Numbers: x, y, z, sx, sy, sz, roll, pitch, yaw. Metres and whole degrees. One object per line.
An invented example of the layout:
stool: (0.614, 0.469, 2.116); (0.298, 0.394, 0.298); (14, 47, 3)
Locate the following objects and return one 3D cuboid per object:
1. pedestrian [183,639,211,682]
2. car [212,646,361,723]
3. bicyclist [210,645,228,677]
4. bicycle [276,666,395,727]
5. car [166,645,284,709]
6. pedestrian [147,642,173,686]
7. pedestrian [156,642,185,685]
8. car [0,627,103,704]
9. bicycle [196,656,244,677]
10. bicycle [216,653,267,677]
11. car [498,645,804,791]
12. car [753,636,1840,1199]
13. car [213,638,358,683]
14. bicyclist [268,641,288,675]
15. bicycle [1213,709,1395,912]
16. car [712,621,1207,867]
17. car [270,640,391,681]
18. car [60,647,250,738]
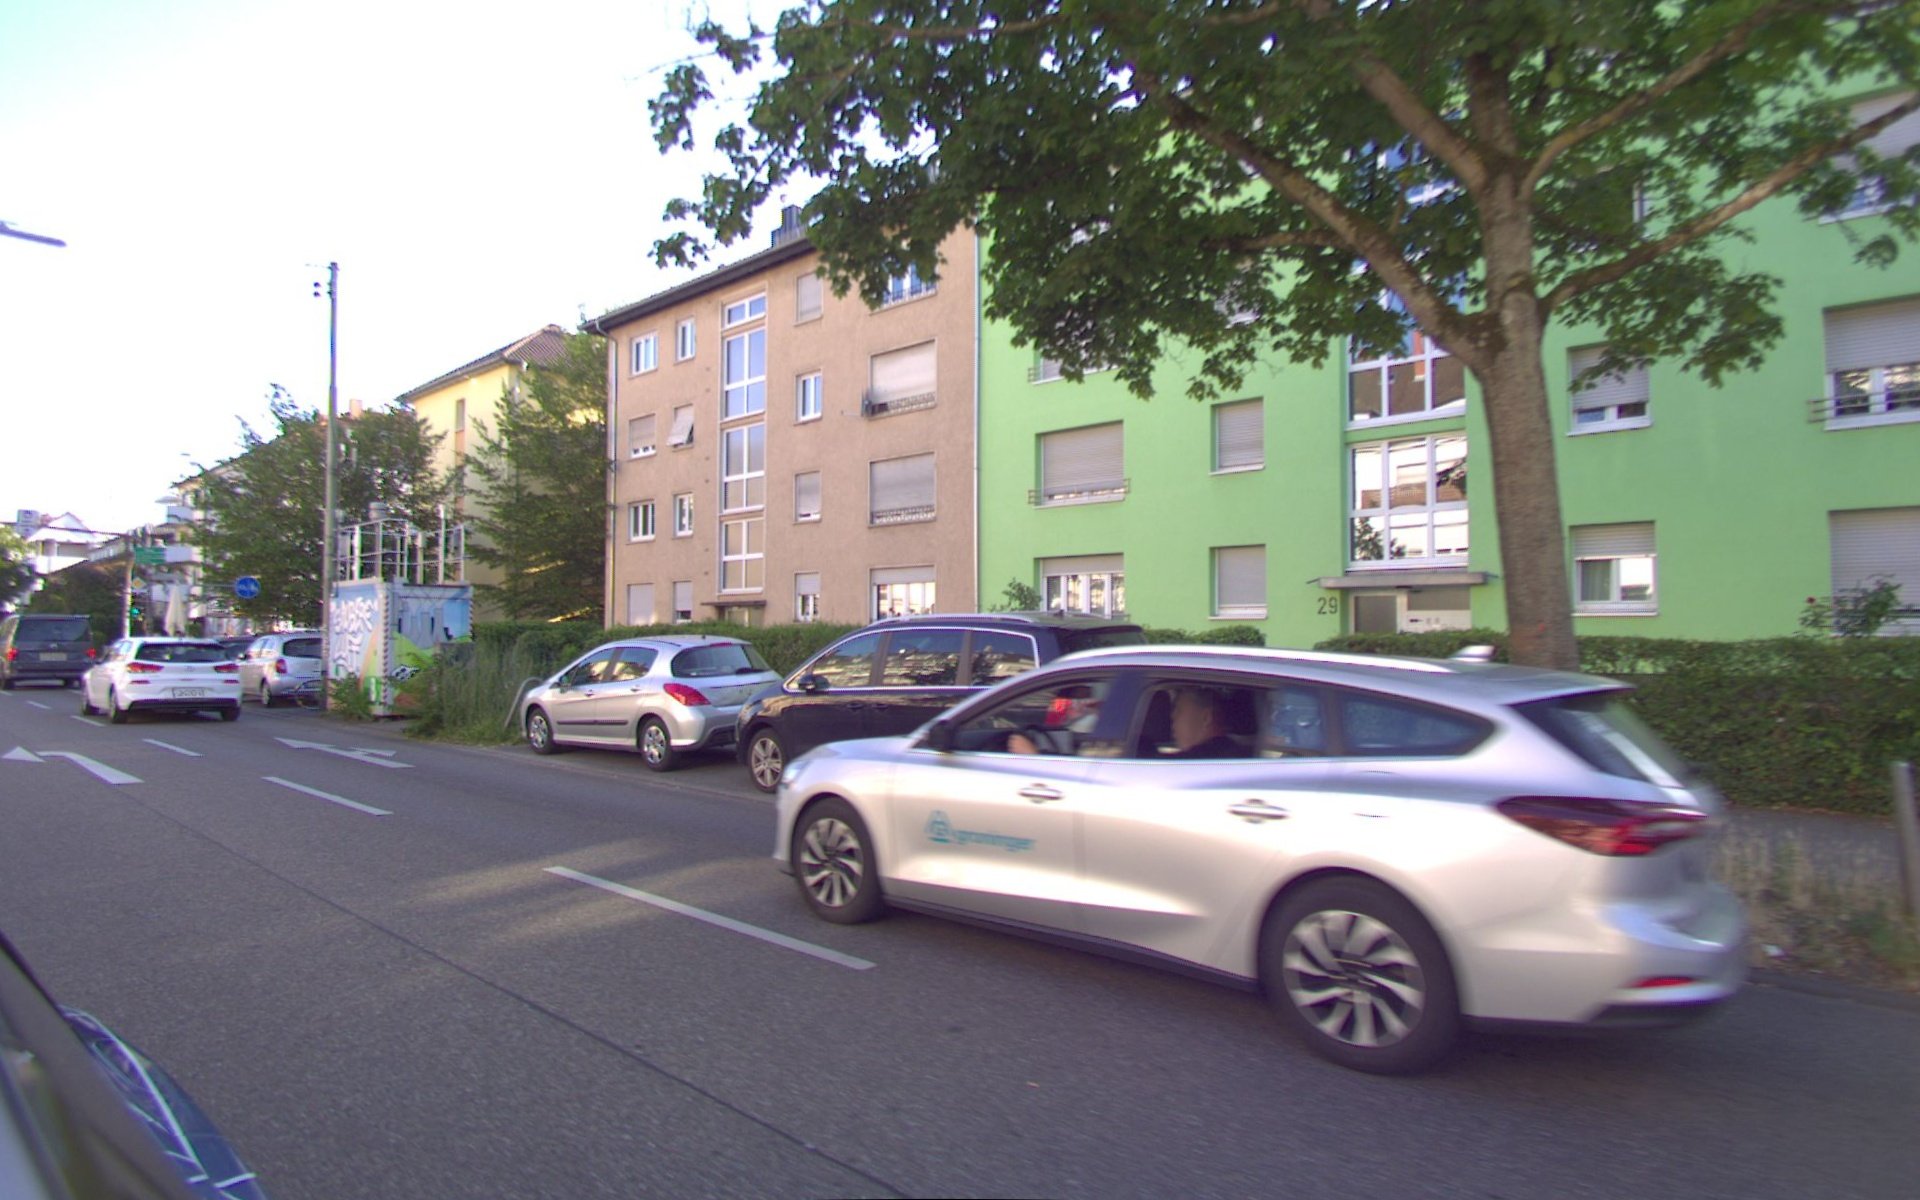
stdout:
pedestrian: (-30.706, 2.431, 40.749); (0.598, 1.642, 0.752); (-2, 1, -12)
car: (-14.892, 1.798, 22.330); (3.781, 1.564, 1.621); (-2, -3, 38)
bicyclist: (-38.800, 3.179, 53.005); (0.662, 1.666, 0.751); (2, -5, -39)
bicycle: (-12.736, 1.943, 20.687); (0.583, 1.097, 1.984); (-2, -2, 42)
car: (-18.681, 1.886, 25.674); (3.942, 1.491, 1.635); (-2, -4, 42)
pedestrian: (-30.819, 2.460, 38.996); (0.749, 1.606, 0.601); (-1, 1, 38)
pedestrian: (-31.656, 2.540, 40.587); (0.607, 1.670, 0.741); (-2, -3, 34)
car: (-25.596, 1.809, 28.052); (4.774, 1.961, 1.973); (-2, -5, 41)
bicycle: (-38.774, 3.480, 53.010); (1.967, 1.097, 0.729); (2, -5, -39)
bicycle: (-36.111, 3.265, 50.893); (0.726, 1.175, 1.975); (-3, -4, 35)
car: (-3.986, 1.344, 12.735); (4.187, 1.533, 1.665); (-2, -3, 40)
car: (1.151, 0.978, 4.750); (4.450, 1.482, 1.812); (-2, -6, 42)
car: (-27.151, 2.401, 40.878); (1.841, 1.626, 4.546); (-2, -2, 38)
bicyclist: (-34.683, 2.958, 51.471); (0.748, 1.734, 0.601); (-3, -4, 35)
bicycle: (2.434, 1.385, 7.051); (0.560, 1.097, 1.657); (-3, -2, 42)
car: (-0.220, 1.128, 9.439); (4.615, 1.746, 1.765); (-2, -4, 42)
car: (-29.465, 2.796, 47.477); (1.907, 1.862, 4.426); (-2, -3, 40)
car: (-14.497, 1.604, 18.165); (4.106, 1.458, 1.797); (-2, -6, 40)
